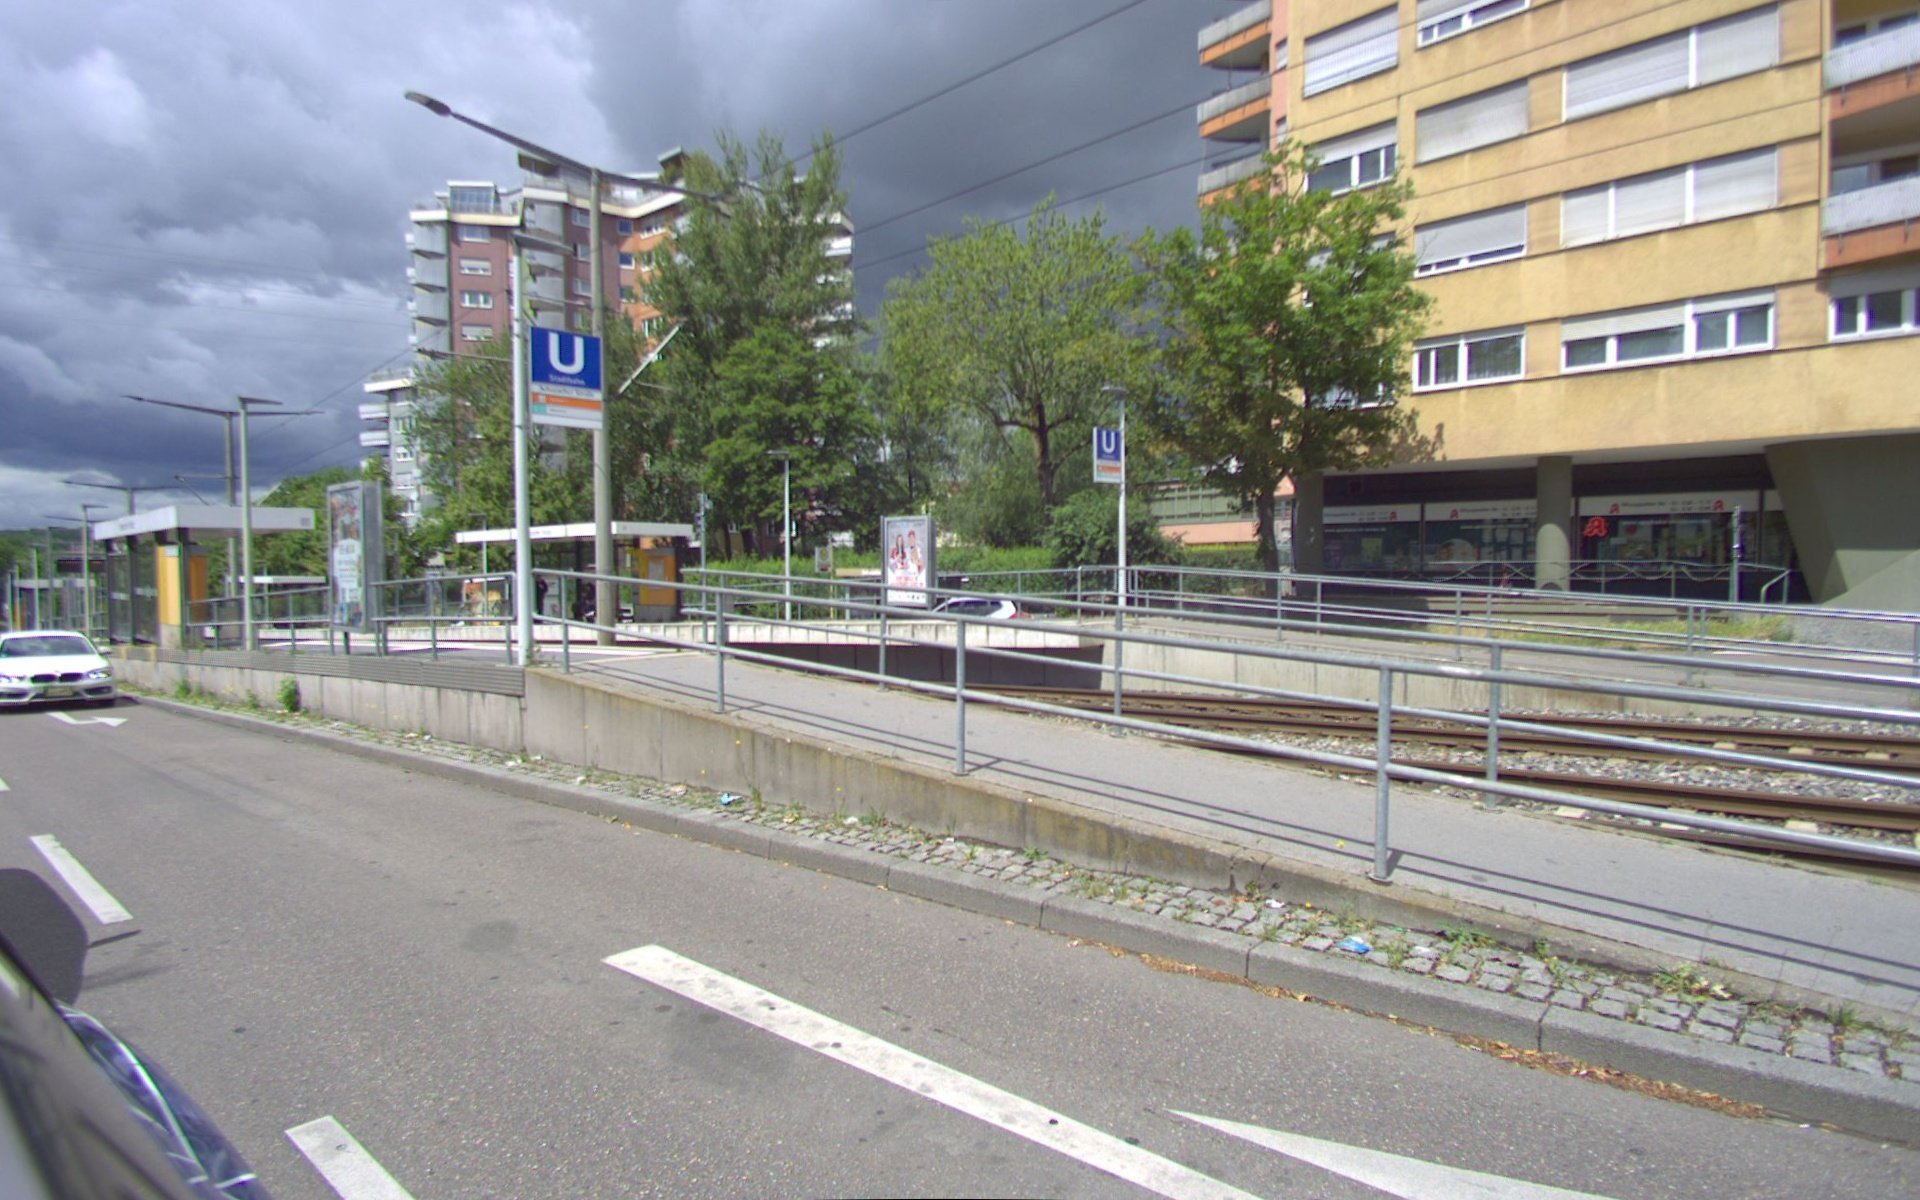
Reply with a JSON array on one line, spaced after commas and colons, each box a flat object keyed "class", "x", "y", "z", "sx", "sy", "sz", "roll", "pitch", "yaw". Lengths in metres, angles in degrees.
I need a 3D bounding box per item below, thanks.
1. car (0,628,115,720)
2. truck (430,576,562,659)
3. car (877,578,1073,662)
[{"class": "car", "x": -17.126, "y": 1.284, "z": 18.733, "sx": 3.998, "sy": 1.472, "sz": 1.710, "roll": -1, "pitch": 0, "yaw": 42}, {"class": "truck", "x": -19.788, "y": 0.776, "z": 42.939, "sx": 7.260, "sy": 3.247, "sz": 2.389, "roll": -2, "pitch": -1, "yaw": 42}, {"class": "car", "x": 0.284, "y": 0.474, "z": 24.035, "sx": 4.509, "sy": 1.815, "sz": 1.972, "roll": -1, "pitch": -2, "yaw": 42}]
